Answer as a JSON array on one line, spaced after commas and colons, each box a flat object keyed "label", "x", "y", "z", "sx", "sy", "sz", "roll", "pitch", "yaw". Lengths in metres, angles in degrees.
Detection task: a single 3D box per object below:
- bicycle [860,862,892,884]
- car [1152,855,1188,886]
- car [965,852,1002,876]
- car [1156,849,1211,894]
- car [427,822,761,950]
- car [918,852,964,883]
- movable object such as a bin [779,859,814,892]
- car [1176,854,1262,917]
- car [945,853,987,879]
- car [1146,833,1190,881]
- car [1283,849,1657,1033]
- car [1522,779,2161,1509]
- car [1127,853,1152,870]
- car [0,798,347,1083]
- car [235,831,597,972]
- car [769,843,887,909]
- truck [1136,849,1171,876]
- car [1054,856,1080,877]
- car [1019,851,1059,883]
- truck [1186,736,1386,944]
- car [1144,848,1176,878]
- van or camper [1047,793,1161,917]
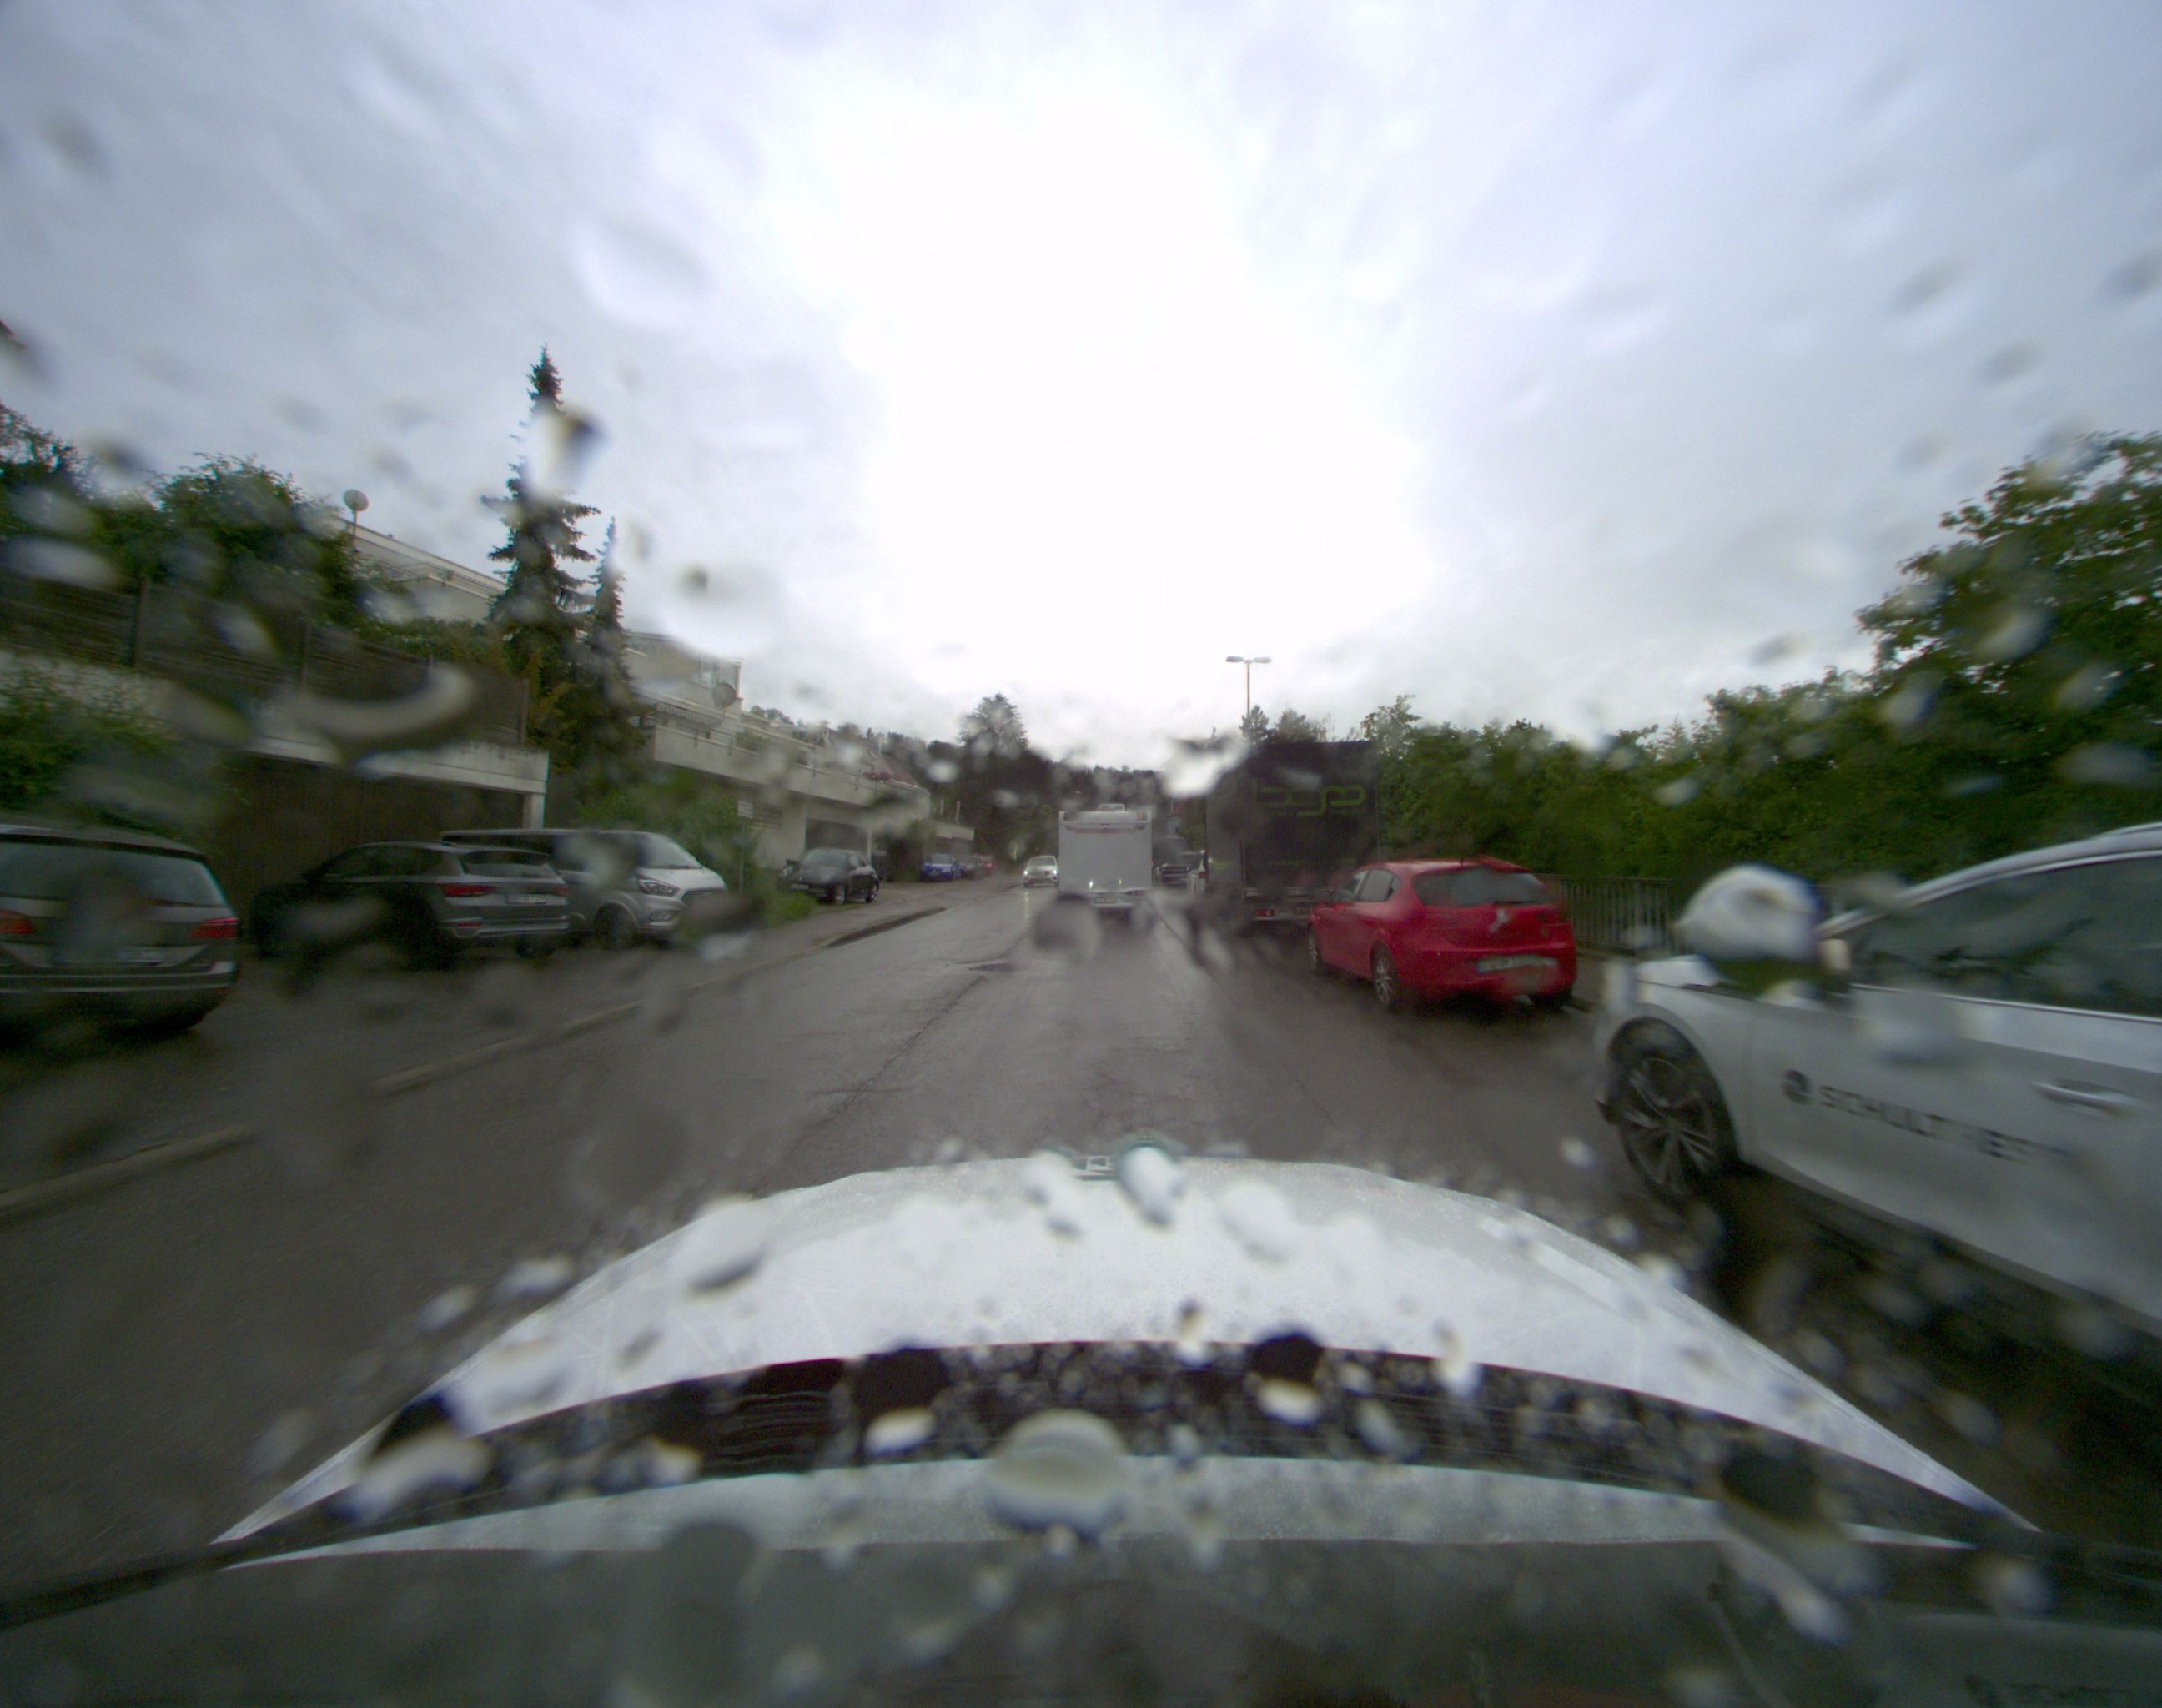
[{"label": "bicycle", "x": -9.907, "y": 0.904, "z": 39.345, "sx": 1.549, "sy": 1.007, "sz": 0.481, "roll": 1, "pitch": -1, "yaw": 30}, {"label": "car", "x": 4.345, "y": 0.776, "z": 40.090, "sx": 1.582, "sy": 1.429, "sz": 3.801, "roll": -1, "pitch": 0, "yaw": 4}, {"label": "car", "x": -6.741, "y": 0.672, "z": 56.807, "sx": 1.767, "sy": 1.437, "sz": 4.590, "roll": 4, "pitch": 0, "yaw": 2}, {"label": "car", "x": 4.091, "y": 0.672, "z": 33.197, "sx": 1.928, "sy": 1.672, "sz": 4.699, "roll": -1, "pitch": 0, "yaw": 4}, {"label": "car", "x": -8.429, "y": 0.534, "z": 14.170, "sx": 5.044, "sy": 1.944, "sz": 2.151, "roll": -1, "pitch": -1, "yaw": 18}, {"label": "car", "x": -7.303, "y": 0.667, "z": 42.832, "sx": 1.601, "sy": 1.434, "sz": 3.960, "roll": 3, "pitch": 0, "yaw": 1}, {"label": "movable object such as a bin", "x": -9.725, "y": 0.743, "z": 27.818, "sx": 0.718, "sy": 1.070, "sz": 0.770, "roll": 4, "pitch": -1, "yaw": 20}, {"label": "car", "x": 4.086, "y": 0.881, "z": 25.015, "sx": 1.839, "sy": 1.683, "sz": 5.641, "roll": -1, "pitch": -1, "yaw": 2}, {"label": "car", "x": -6.801, "y": 0.709, "z": 48.478, "sx": 1.627, "sy": 1.396, "sz": 4.241, "roll": 3, "pitch": 0, "yaw": 2}, {"label": "car", "x": 4.867, "y": 0.179, "z": 46.543, "sx": 2.023, "sy": 2.505, "sz": 5.958, "roll": -1, "pitch": 0, "yaw": 2}, {"label": "car", "x": 3.741, "y": 0.725, "z": 9.032, "sx": 1.825, "sy": 1.438, "sz": 4.987, "roll": -1, "pitch": -1, "yaw": 1}, {"label": "car", "x": 3.249, "y": 0.625, "z": 2.109, "sx": 1.753, "sy": 1.604, "sz": 4.668, "roll": -1, "pitch": -1, "yaw": 1}, {"label": "car", "x": 5.324, "y": 0.678, "z": 74.678, "sx": 1.683, "sy": 1.457, "sz": 4.050, "roll": 1, "pitch": 0, "yaw": -5}, {"label": "car", "x": -8.174, "y": 0.434, "z": 6.168, "sx": 4.025, "sy": 1.692, "sz": 1.901, "roll": 3, "pitch": 0, "yaw": 15}, {"label": "car", "x": -9.035, "y": 0.566, "z": 11.147, "sx": 4.022, "sy": 1.638, "sz": 1.902, "roll": 1, "pitch": -1, "yaw": 18}, {"label": "car", "x": -7.249, "y": 0.578, "z": 23.814, "sx": 1.681, "sy": 1.588, "sz": 4.203, "roll": 6, "pitch": 0, "yaw": 5}, {"label": "truck", "x": 5.280, "y": 0.609, "z": 60.146, "sx": 2.106, "sy": 1.852, "sz": 6.620, "roll": 1, "pitch": 0, "yaw": 1}, {"label": "car", "x": -1.055, "y": 0.962, "z": 64.532, "sx": 1.792, "sy": 1.567, "sz": 4.386, "roll": 0, "pitch": 0, "yaw": 2}, {"label": "car", "x": -2.208, "y": 0.672, "z": 43.938, "sx": 1.900, "sy": 1.607, "sz": 4.428, "roll": 0, "pitch": 0, "yaw": 0}, {"label": "truck", "x": 3.855, "y": -0.190, "z": 17.271, "sx": 2.427, "sy": 3.335, "sz": 7.968, "roll": -1, "pitch": -1, "yaw": 2}, {"label": "car", "x": 5.191, "y": 0.553, "z": 53.786, "sx": 1.820, "sy": 1.842, "sz": 5.273, "roll": -1, "pitch": 0, "yaw": 3}, {"label": "van or camper", "x": 0.680, "y": 0.105, "z": 21.982, "sx": 2.605, "sy": 2.853, "sz": 6.034, "roll": 1, "pitch": -2, "yaw": 3}]
